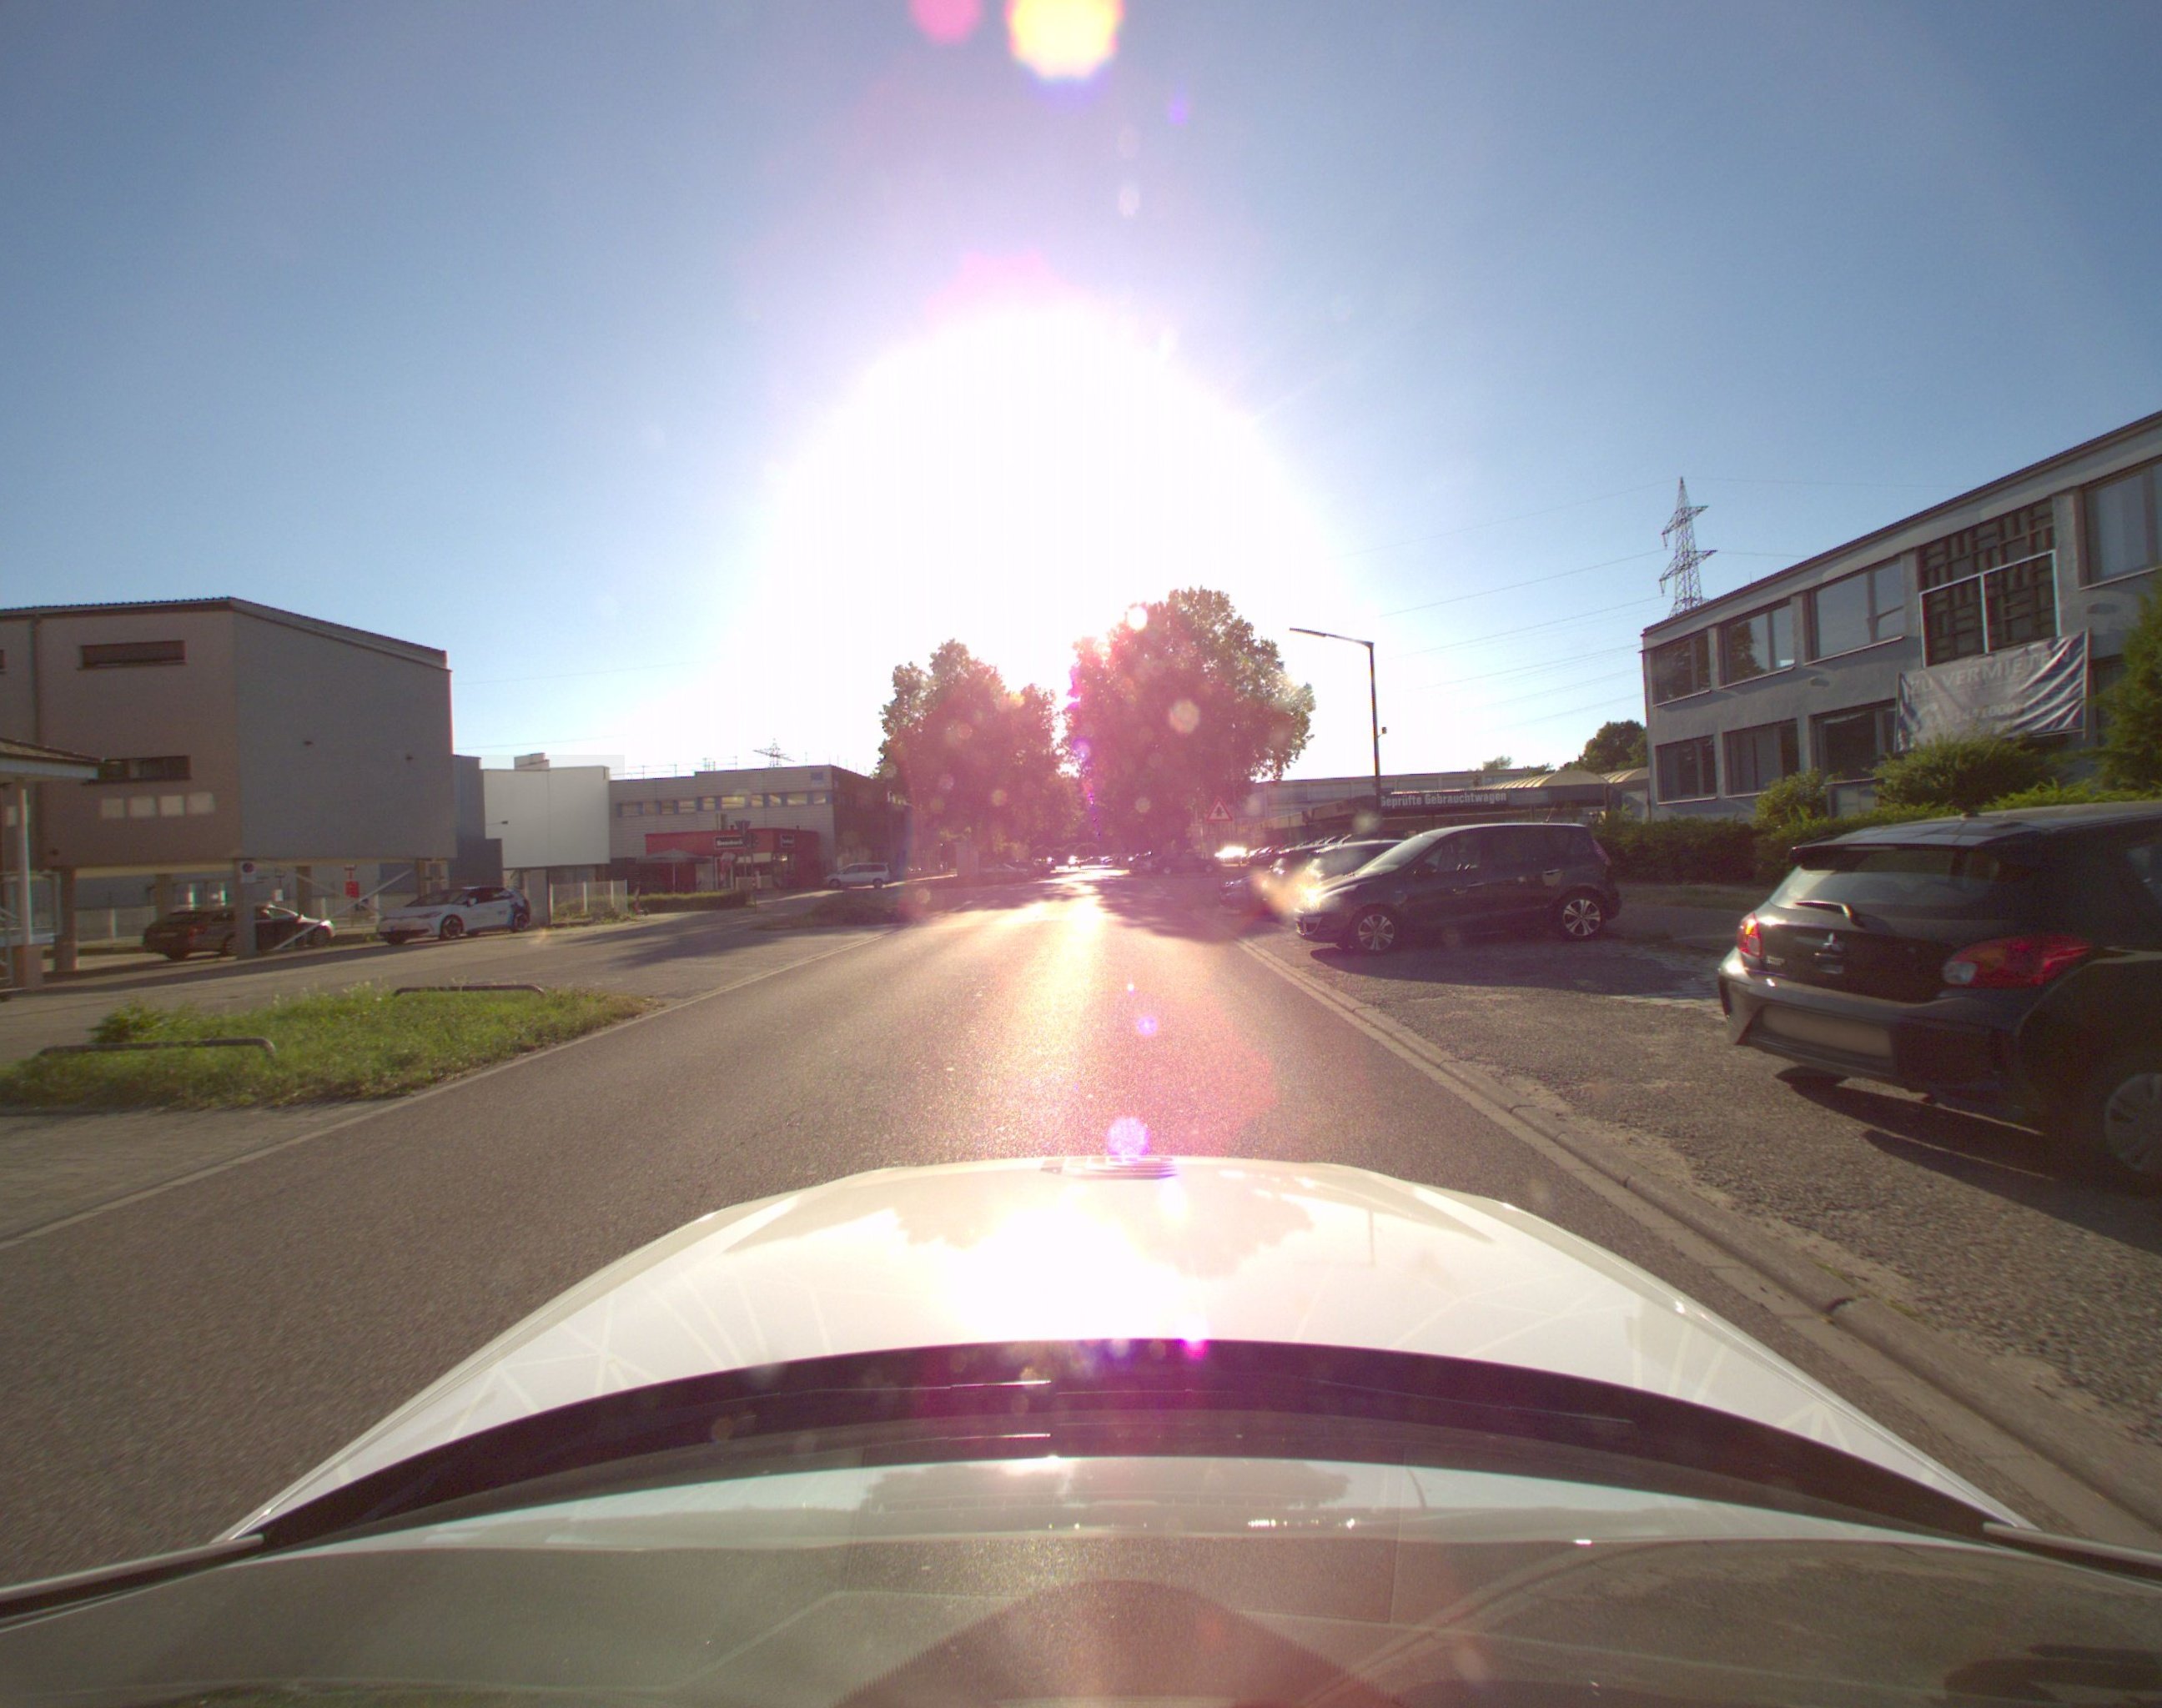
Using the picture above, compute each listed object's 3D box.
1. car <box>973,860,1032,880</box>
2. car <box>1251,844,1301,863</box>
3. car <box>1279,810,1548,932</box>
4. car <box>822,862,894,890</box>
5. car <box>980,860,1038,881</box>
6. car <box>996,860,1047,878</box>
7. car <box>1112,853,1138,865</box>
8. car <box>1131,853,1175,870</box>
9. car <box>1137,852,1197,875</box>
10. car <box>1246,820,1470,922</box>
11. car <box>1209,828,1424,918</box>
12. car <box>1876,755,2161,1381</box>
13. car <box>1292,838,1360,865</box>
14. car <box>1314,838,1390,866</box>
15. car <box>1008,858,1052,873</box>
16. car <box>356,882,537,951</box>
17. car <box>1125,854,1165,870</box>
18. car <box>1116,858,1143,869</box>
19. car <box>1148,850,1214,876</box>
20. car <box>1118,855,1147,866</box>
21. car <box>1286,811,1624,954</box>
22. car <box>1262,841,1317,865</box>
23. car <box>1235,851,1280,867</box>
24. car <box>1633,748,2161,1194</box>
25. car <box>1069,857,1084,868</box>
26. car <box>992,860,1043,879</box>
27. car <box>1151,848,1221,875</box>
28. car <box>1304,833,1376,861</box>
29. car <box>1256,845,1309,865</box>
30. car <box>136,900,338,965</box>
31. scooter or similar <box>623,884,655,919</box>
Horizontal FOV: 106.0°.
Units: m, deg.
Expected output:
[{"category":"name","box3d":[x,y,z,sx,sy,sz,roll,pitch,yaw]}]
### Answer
[{"category":"car","box3d":[-5.981,1.237,62.297,4.407,1.403,1.997,-1,-1,-4]},{"category":"car","box3d":[17.112,-0.029,71.609,3.974,1.546,2.000,-1,-1,0]},{"category":"car","box3d":[5.808,0.296,14.603,3.972,1.652,1.801,-6,-1,2]},{"category":"car","box3d":[-15.283,1.505,55.961,4.637,1.741,1.990,-1,-1,-15]},{"category":"car","box3d":[-5.670,1.294,64.743,4.401,1.517,2.000,-1,-1,0]},{"category":"car","box3d":[-5.472,1.371,75.025,4.397,1.517,2.001,-2,-1,2]},{"category":"car","box3d":[7.018,0.781,128.801,3.973,1.777,1.827,-3,-1,1]},{"category":"car","box3d":[6.870,0.727,78.091,3.973,1.416,1.827,-3,-1,1]},{"category":"car","box3d":[5.987,0.664,57.216,3.973,1.416,1.827,-3,-1,1]},{"category":"car","box3d":[5.681,0.345,17.048,3.976,1.652,1.741,-5,-1,-1]},{"category":"car","box3d":[5.510,0.435,19.428,4.512,1.672,1.752,-5,-1,-2]},{"category":"car","box3d":[4.962,0.325,1.643,4.543,1.597,2.200,-6,-1,-2]},{"category":"car","box3d":[16.622,-0.127,55.333,3.974,1.700,2.000,-1,-1,0]},{"category":"car","box3d":[16.659,-0.105,50.211,3.974,1.568,2.000,-1,-1,0]},{"category":"car","box3d":[-5.324,1.209,86.085,4.397,1.517,2.001,-2,-1,2]},{"category":"car","box3d":[-19.137,1.829,24.883,1.986,1.576,4.342,-1,2,2]},{"category":"car","box3d":[6.581,0.815,84.076,3.973,1.381,1.827,-3,-1,1]},{"category":"car","box3d":[7.478,1.462,124.912,3.973,1.416,1.827,-3,-1,1]},{"category":"car","box3d":[6.370,0.588,52.156,3.973,1.416,2.000,-3,-1,1]},{"category":"car","box3d":[7.100,0.905,112.697,3.973,1.416,1.827,-3,-1,1]},{"category":"car","box3d":[5.157,0.406,11.802,3.964,1.613,2.005,-4,-1,8]},{"category":"car","box3d":[17.041,-0.086,66.618,3.974,1.832,2.000,-1,-1,0]},{"category":"car","box3d":[17.337,0.501,79.977,3.974,1.504,2.000,-1,-1,0]},{"category":"car","box3d":[5.547,0.308,4.039,4.235,1.623,1.921,-5,-1,0]},{"category":"car","box3d":[-0.669,1.261,119.087,1.986,1.609,4.001,-1,-1,1]},{"category":"car","box3d":[-5.563,1.369,71.890,4.404,1.517,1.998,-1,-1,-2]},{"category":"car","box3d":[6.389,0.472,49.823,3.973,1.416,2.000,-3,-1,1]},{"category":"car","box3d":[16.704,-0.449,52.605,3.974,1.634,2.000,-1,-1,0]},{"category":"car","box3d":[17.070,0.082,69.170,3.974,1.546,2.000,-1,-1,0]},{"category":"car","box3d":[-25.846,2.357,25.173,1.986,1.618,4.001,-1,-1,2]},{"category":"scooter or similar","box3d":[-16.003,1.708,29.487,0.629,1.200,1.372,-1,-1,-45]}]
